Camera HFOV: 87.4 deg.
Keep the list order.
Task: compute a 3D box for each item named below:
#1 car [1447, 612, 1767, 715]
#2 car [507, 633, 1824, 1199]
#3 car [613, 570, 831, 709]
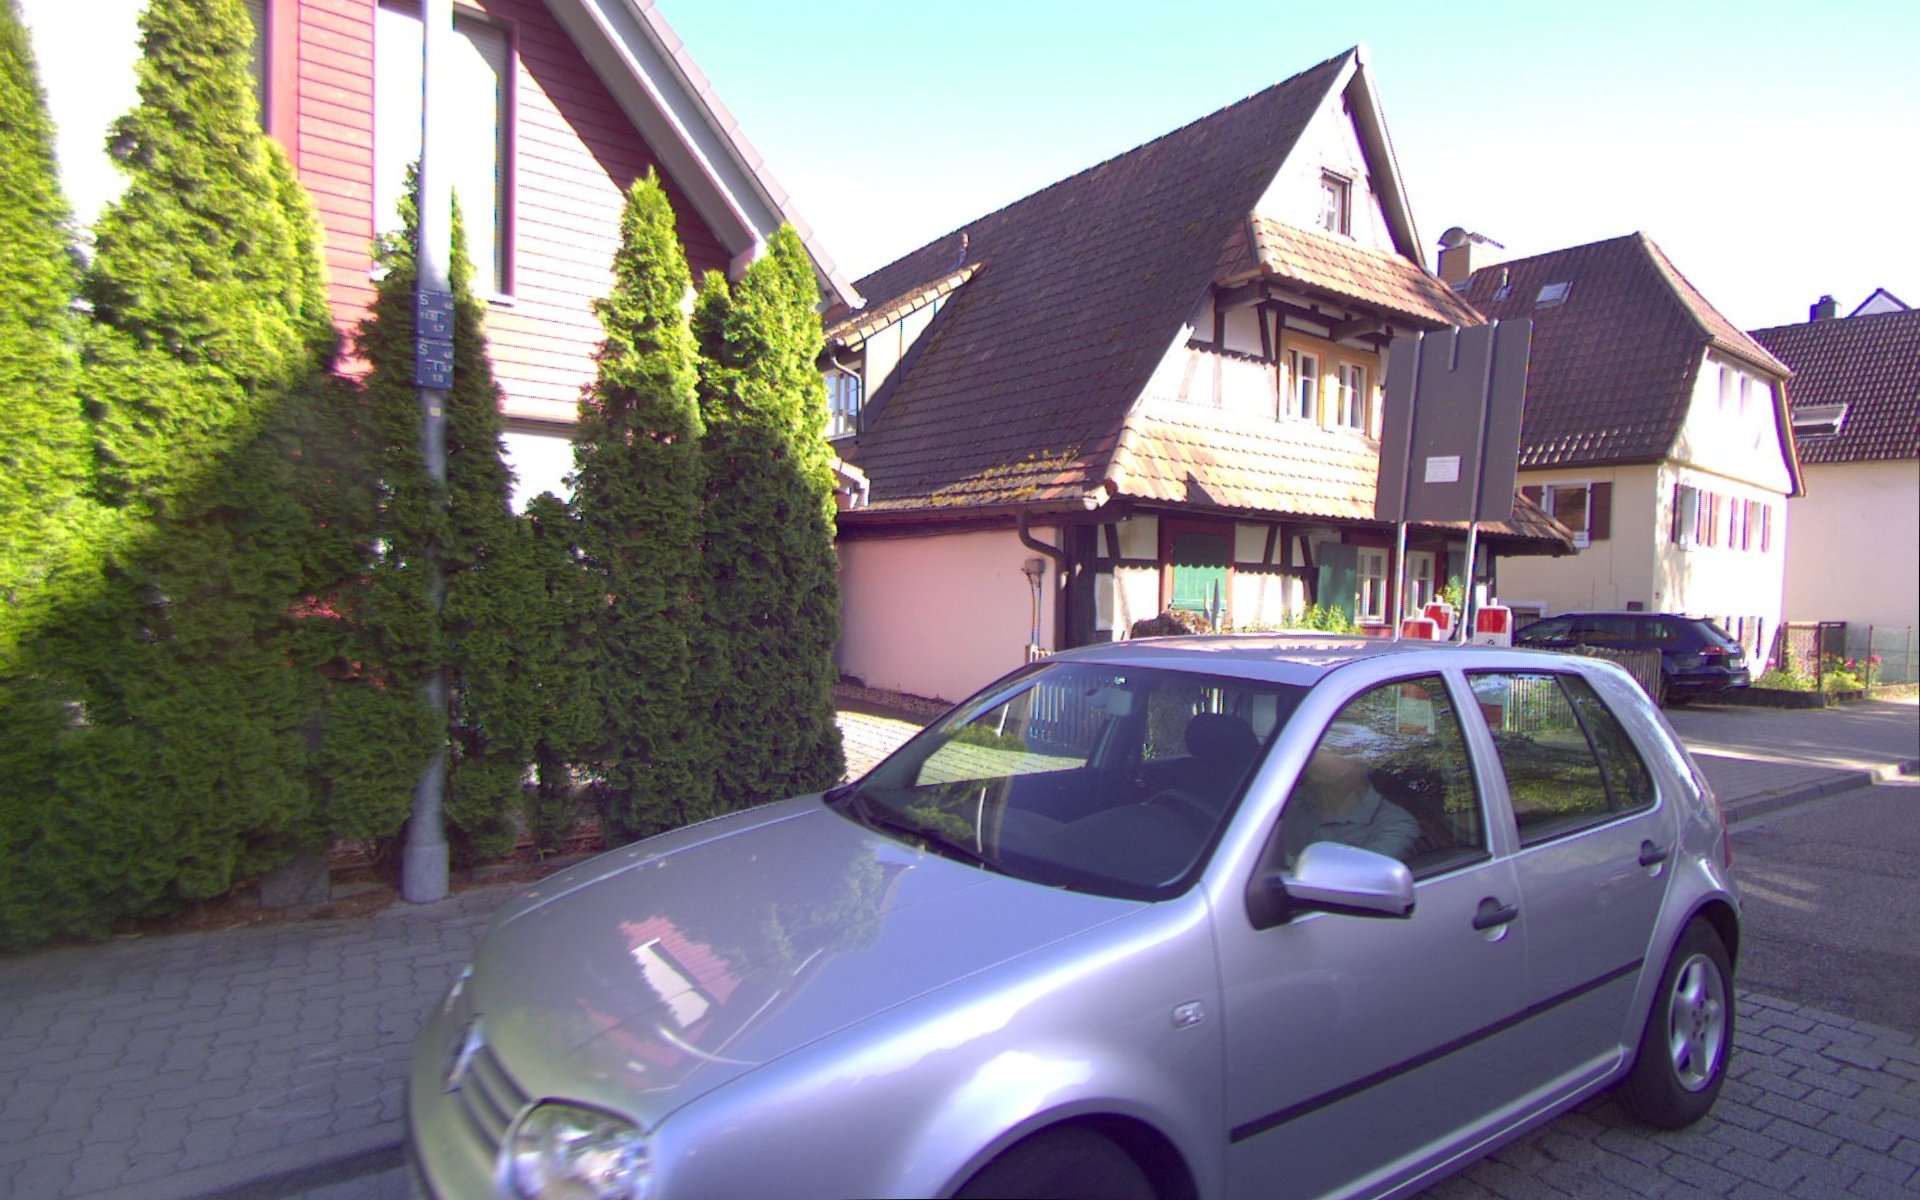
[{"bbox_3d":[10.597,0.946,16.719,1.832,1.481,4.127,1,-1,-38],"label":"car"},{"bbox_3d":[0.862,0.822,3.016,3.851,1.421,1.661,1,-1,-34],"label":"car"},{"bbox_3d":[-3.271,0.380,13.203,1.795,1.522,3.969,0,2,-29],"label":"car"}]
